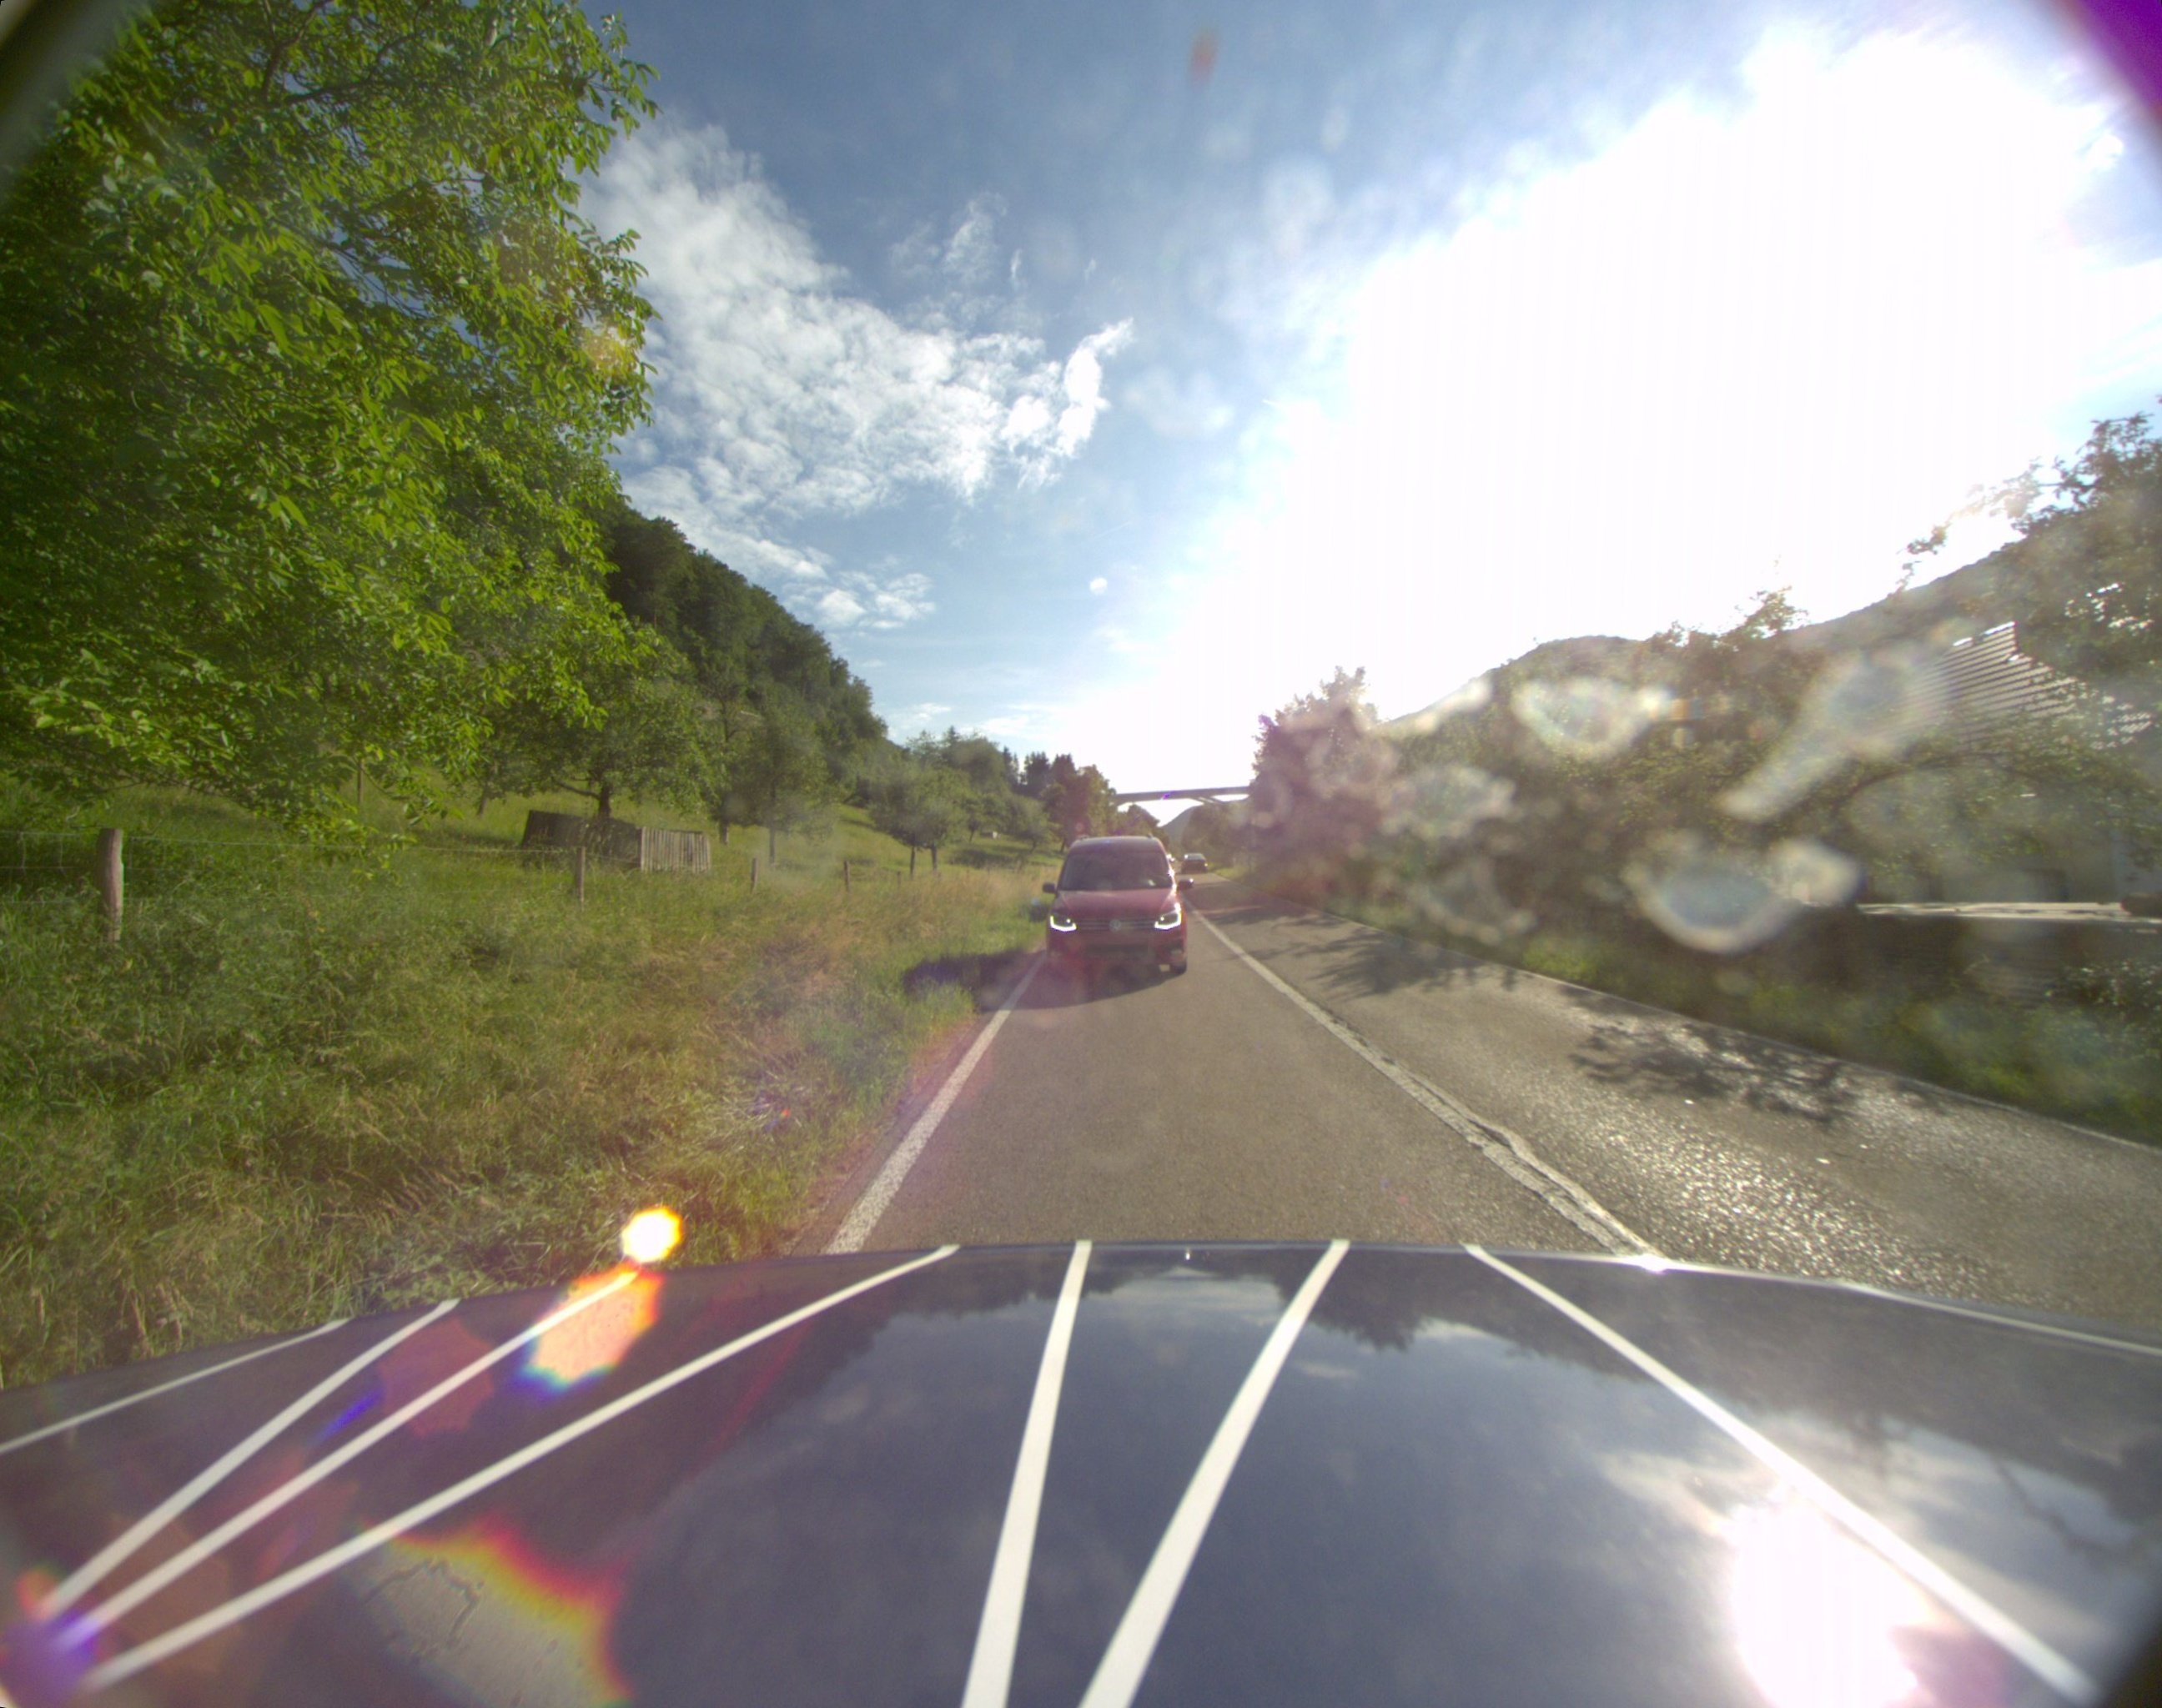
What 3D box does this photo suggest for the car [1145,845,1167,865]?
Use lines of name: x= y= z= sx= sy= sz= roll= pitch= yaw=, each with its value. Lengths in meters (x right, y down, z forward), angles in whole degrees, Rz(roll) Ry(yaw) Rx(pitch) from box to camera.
car: x=7.818 y=0.094 z=79.389 sx=1.998 sy=2.002 sz=4.000 roll=-2 pitch=1 yaw=3

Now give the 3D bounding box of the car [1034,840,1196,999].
car: x=0.459 y=0.716 z=10.781 sx=1.759 sy=1.745 sz=4.429 roll=-2 pitch=1 yaw=2

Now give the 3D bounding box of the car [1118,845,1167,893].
car: x=2.458 y=0.538 z=30.647 sx=1.758 sy=1.745 sz=4.001 roll=-2 pitch=1 yaw=4

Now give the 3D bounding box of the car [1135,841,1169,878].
car: x=3.969 y=0.280 z=42.567 sx=1.758 sy=1.926 sz=4.001 roll=-2 pitch=1 yaw=5

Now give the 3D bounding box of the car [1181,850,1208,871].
car: x=7.940 y=0.444 z=53.481 sx=1.597 sy=1.346 sz=4.204 roll=-2 pitch=1 yaw=6

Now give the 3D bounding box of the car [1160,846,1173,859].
car: x=13.988 y=-0.241 z=124.656 sx=1.998 sy=2.002 sz=4.001 roll=-2 pitch=1 yaw=5

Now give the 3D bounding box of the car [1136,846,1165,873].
car: x=4.895 y=0.349 z=53.727 sx=1.759 sy=1.745 sz=4.000 roll=-2 pitch=1 yaw=2
